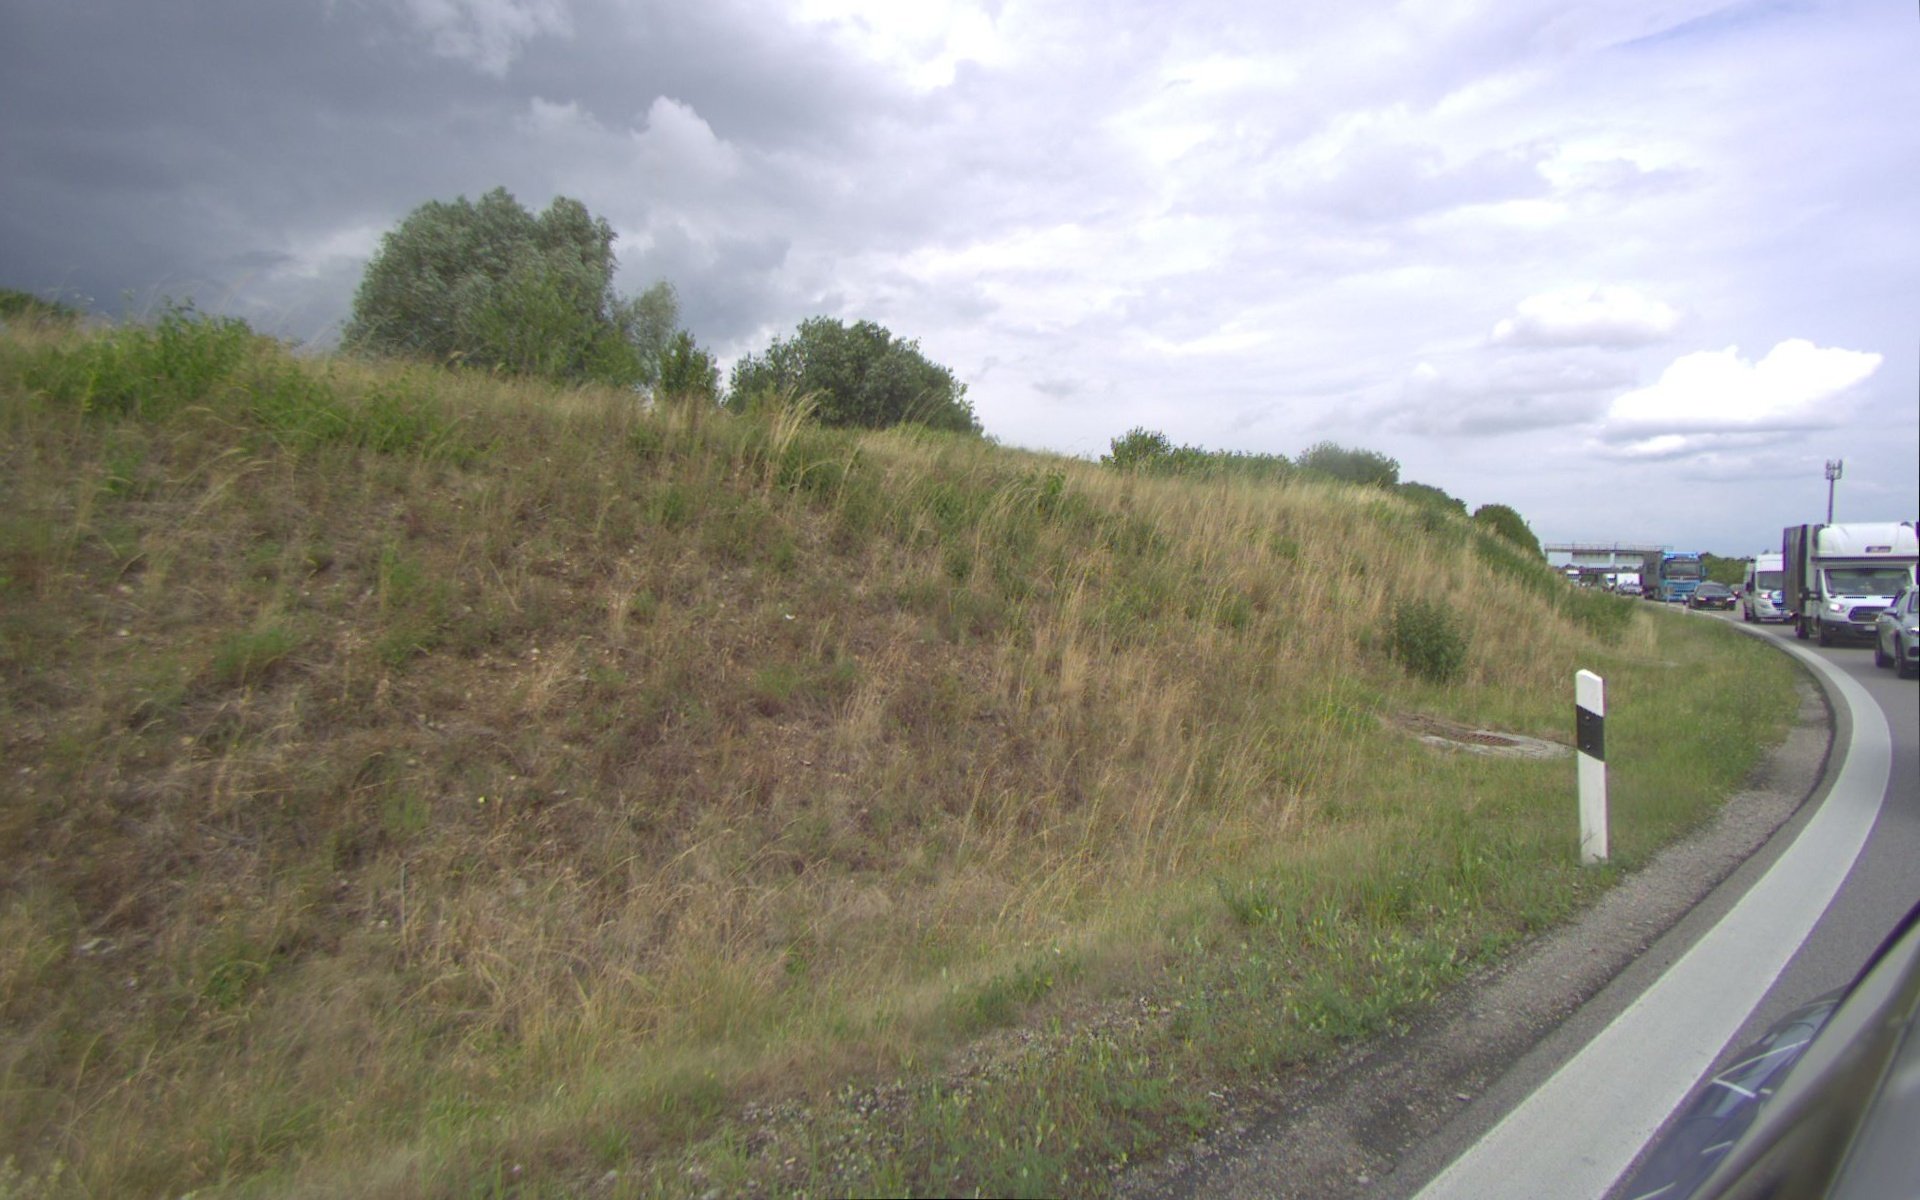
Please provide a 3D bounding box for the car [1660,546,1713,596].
[{"bbox_3d":[57.136,-2.313,79.695,2.485,3.757,7.622,1,2,30],"label":"car"}]

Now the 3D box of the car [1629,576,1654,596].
[{"bbox_3d":[74.905,-1.568,111.264,1.915,2.057,3.957,1,2,30],"label":"car"}]

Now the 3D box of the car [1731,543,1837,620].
[{"bbox_3d":[32.446,-0.762,40.075,2.004,2.779,6.858,1,2,29],"label":"car"}]

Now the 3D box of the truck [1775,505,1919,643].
[{"bbox_3d":[24.216,-0.702,27.268,2.430,3.275,7.115,1,2,30],"label":"truck"}]

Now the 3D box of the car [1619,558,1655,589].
[{"bbox_3d":[78.482,-3.047,117.409,2.923,3.509,6.503,1,2,30],"label":"car"}]

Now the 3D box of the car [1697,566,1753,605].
[{"bbox_3d":[42.893,-0.842,56.801,1.983,2.038,3.958,1,2,30],"label":"car"}]

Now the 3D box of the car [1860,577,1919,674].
[{"bbox_3d":[17.699,0.401,17.860,1.984,1.595,3.956,1,2,31],"label":"car"}]
